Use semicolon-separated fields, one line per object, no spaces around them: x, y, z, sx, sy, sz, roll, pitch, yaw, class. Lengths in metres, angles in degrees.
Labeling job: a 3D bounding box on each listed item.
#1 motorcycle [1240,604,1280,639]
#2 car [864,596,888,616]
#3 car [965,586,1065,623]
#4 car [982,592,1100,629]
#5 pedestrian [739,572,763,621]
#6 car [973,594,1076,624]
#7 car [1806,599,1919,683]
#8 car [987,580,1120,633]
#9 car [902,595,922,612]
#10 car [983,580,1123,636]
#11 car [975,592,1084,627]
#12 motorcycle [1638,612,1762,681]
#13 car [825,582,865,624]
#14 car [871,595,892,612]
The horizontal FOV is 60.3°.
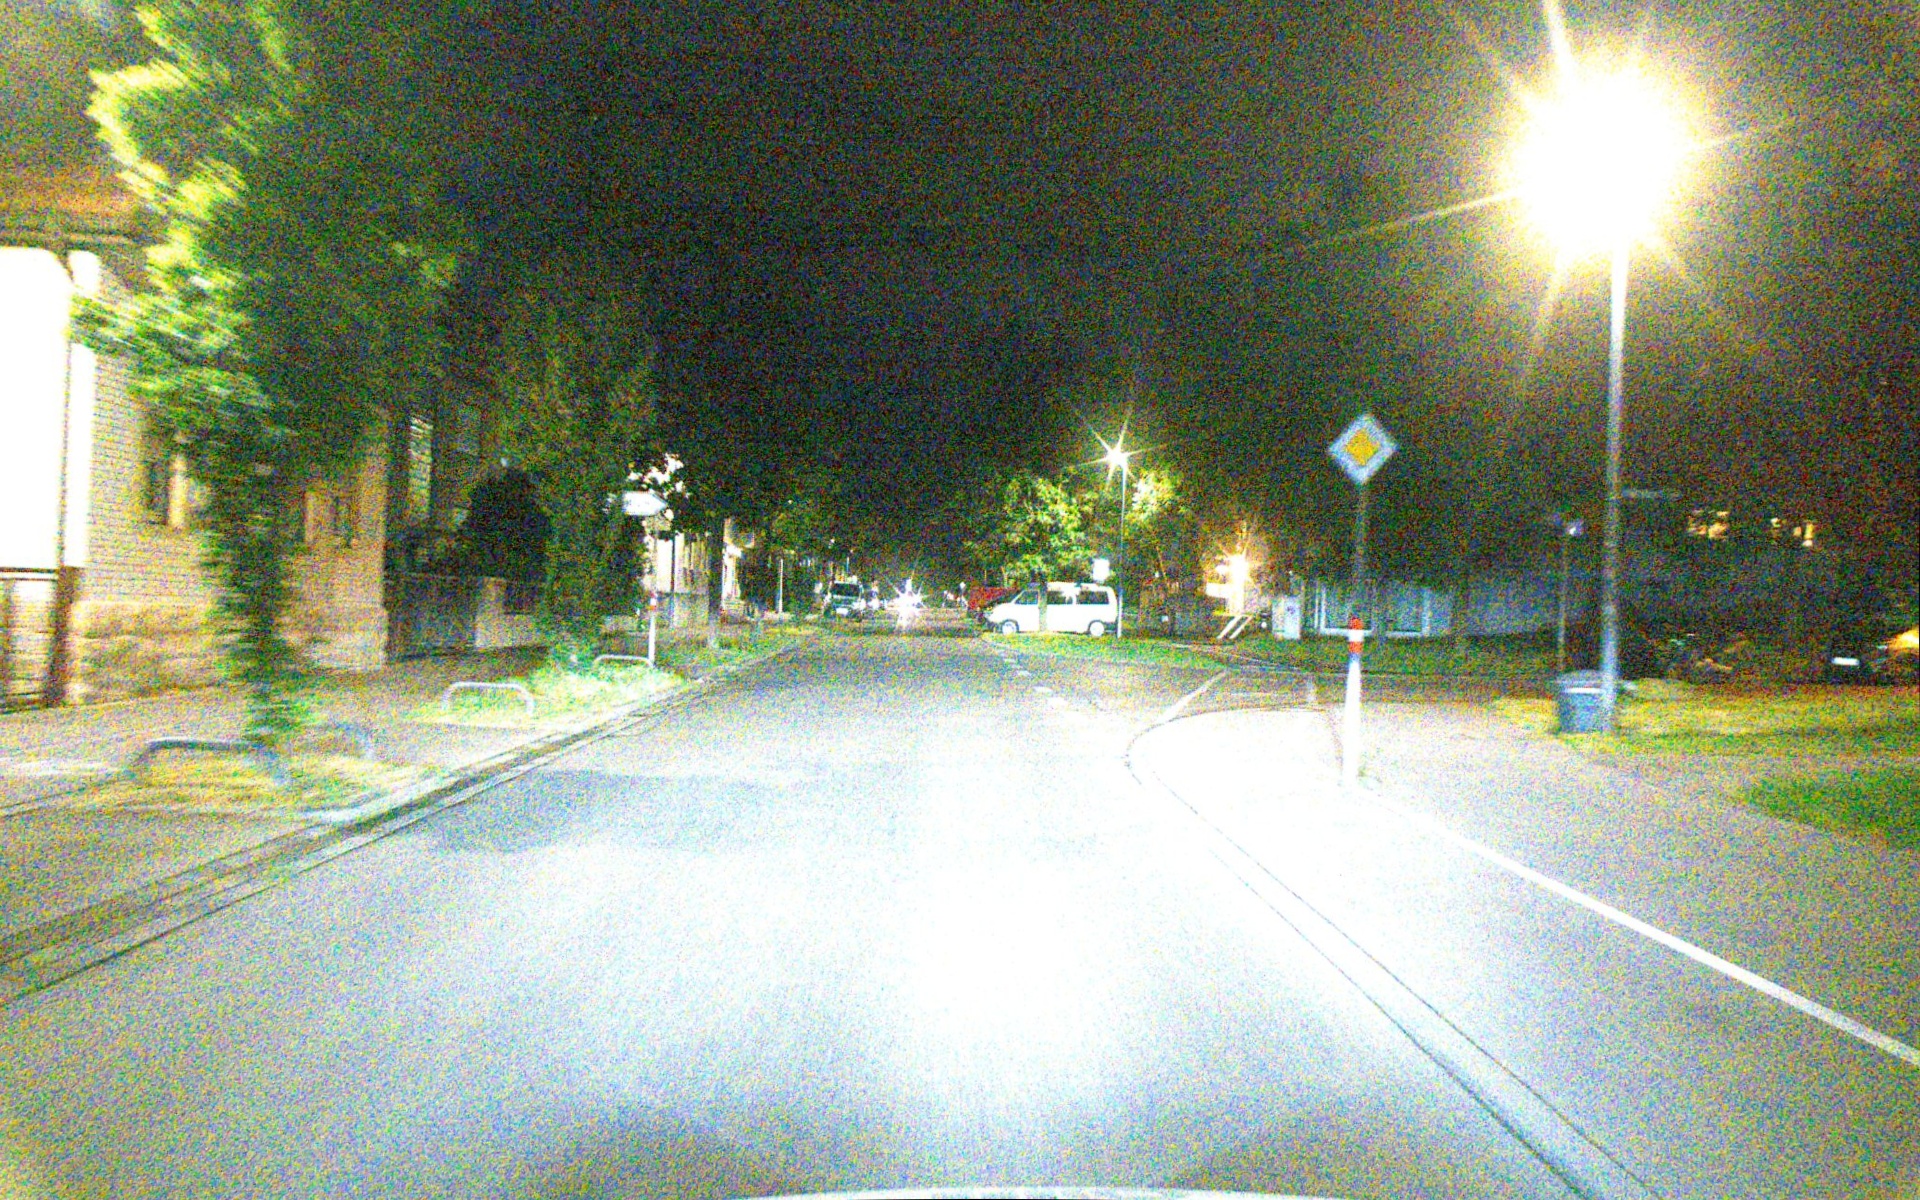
12.409;0.885;68.355;1.048;1.350;2.706;2;1;22;motorcycle
-5.991;0.400;118.518;1.649;1.354;3.598;1;0;-2;car
2.924;0.235;86.916;5.072;1.920;2.103;0;0;8;car
3.541;0.444;73.201;5.078;1.622;2.101;0;0;-3;car
-8.832;-0.147;69.996;0.769;2.048;1.204;3;0;-1;pedestrian
3.257;0.461;84.204;5.078;1.495;2.101;0;0;-3;car
18.404;0.746;31.767;3.561;1.505;1.856;0;1;-17;car
3.665;0.259;65.259;5.078;2.049;2.101;0;0;-3;car
-4.599;0.325;159.240;1.888;1.677;3.819;0;0;-2;car
3.454;0.299;62.155;5.078;2.049;2.101;0;0;-3;car
3.272;0.435;78.688;5.078;1.622;2.101;0;0;-3;car
13.946;0.860;31.180;2.222;1.235;0.708;0;0;-17;motorcycle
-5.926;0.143;85.695;1.788;2.021;4.463;3;0;-2;car
-6.394;0.258;134.402;1.649;1.354;3.598;1;0;-2;car
